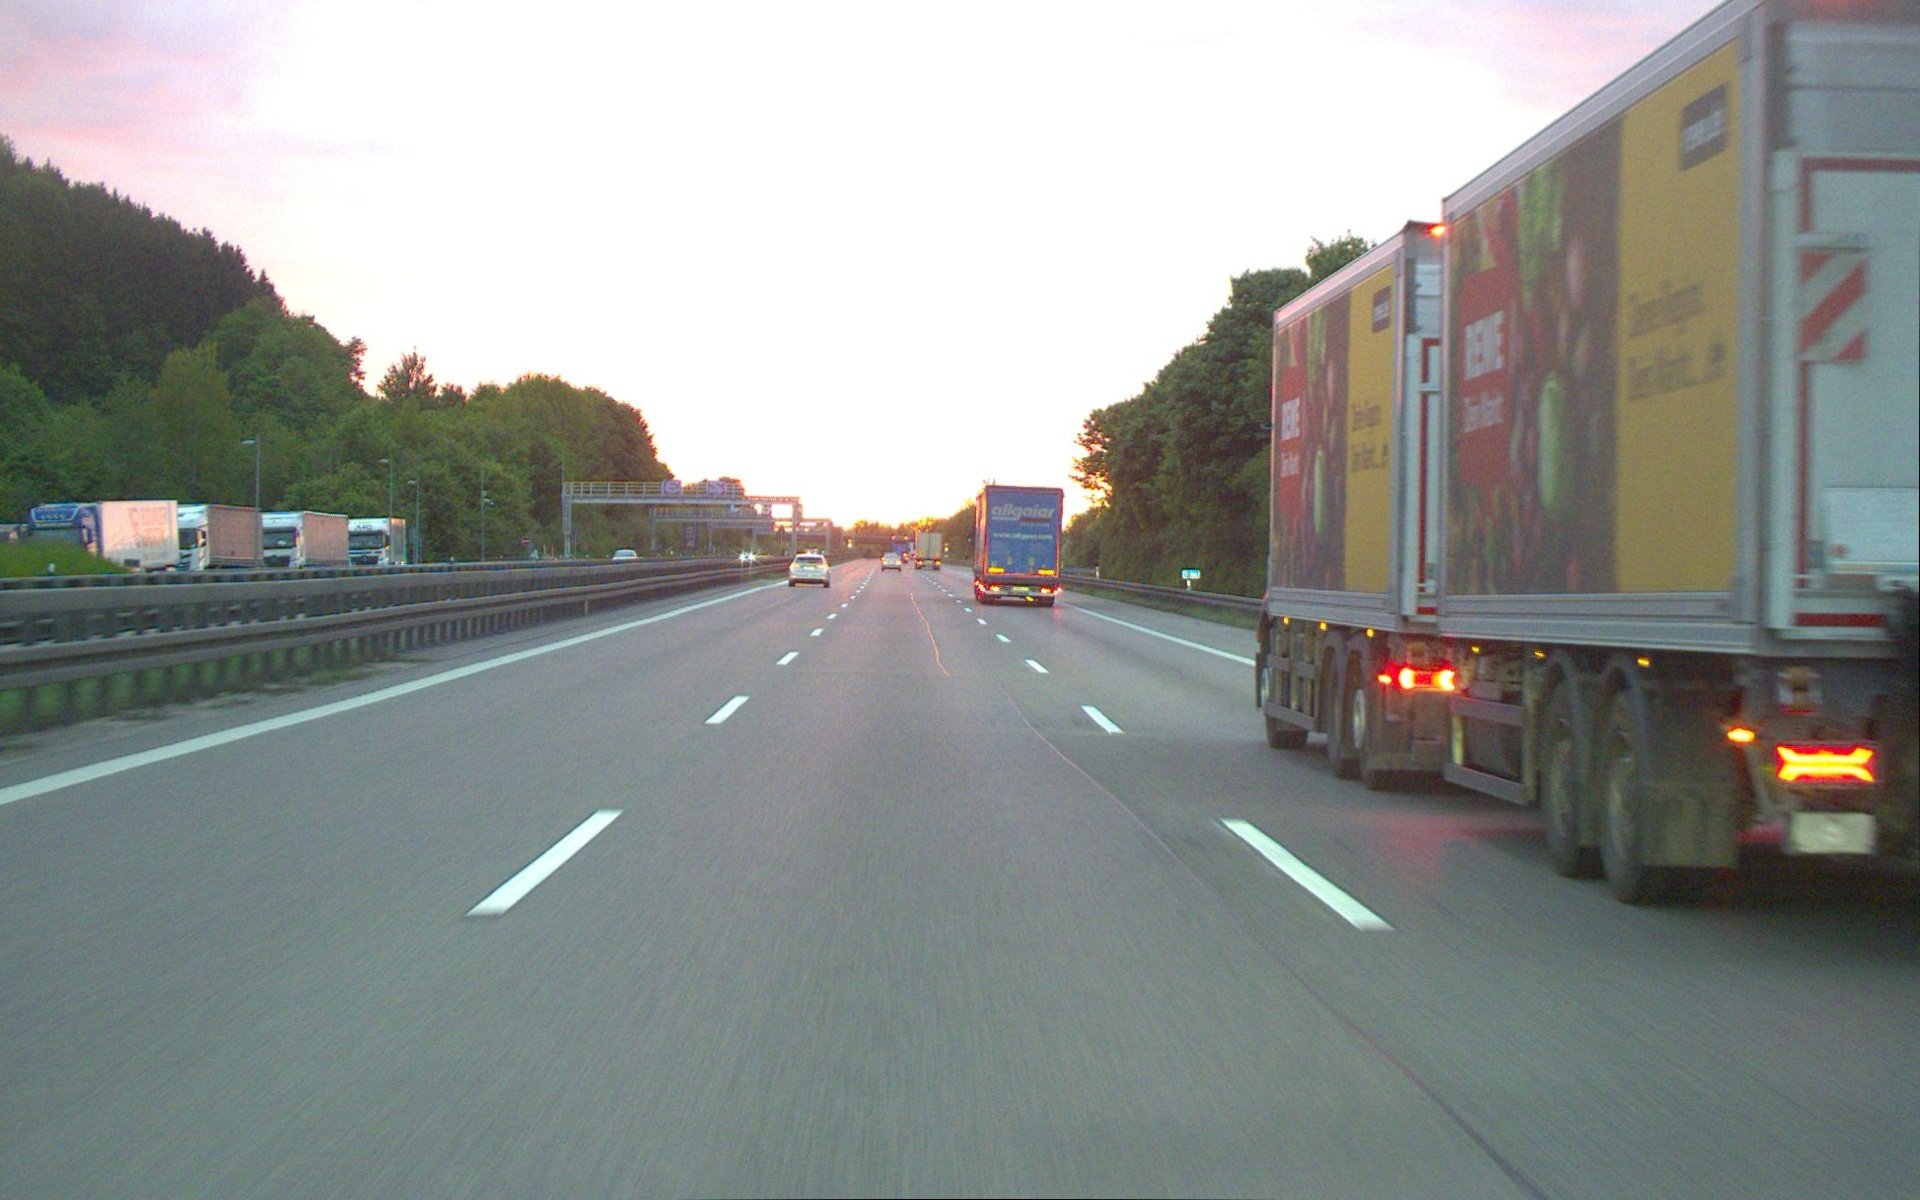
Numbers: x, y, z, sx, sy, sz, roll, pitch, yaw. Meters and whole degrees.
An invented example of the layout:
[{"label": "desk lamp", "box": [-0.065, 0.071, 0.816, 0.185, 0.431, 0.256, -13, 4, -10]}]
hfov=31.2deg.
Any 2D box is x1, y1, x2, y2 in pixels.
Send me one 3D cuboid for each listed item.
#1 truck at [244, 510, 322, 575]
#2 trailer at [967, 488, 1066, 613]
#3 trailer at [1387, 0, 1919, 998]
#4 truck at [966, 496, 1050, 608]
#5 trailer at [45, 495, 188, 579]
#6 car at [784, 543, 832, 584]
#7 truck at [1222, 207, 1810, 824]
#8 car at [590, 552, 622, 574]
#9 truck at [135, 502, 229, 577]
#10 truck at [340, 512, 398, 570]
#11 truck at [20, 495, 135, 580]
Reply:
[{"label": "truck", "box": [-37.061, -3.132, 188.382, 2.873, 3.413, 6.726, 2, 1, 0]}, {"label": "trailer", "box": [1.909, -1.697, 121.716, 2.771, 4.072, 13.740, 2, 0, -1]}, {"label": "trailer", "box": [4.138, -0.464, 17.068, 2.616, 3.814, 8.879, 1, 0, -2]}, {"label": "truck", "box": [1.755, -1.779, 128.180, 2.736, 3.983, 5.850, 2, 0, -1]}, {"label": "trailer", "box": [-36.874, -2.741, 150.814, 2.873, 3.413, 13.224, 2, 1, 0]}, {"label": "car", "box": [-6.684, -1.604, 151.760, 2.013, 1.743, 3.903, -2, 1, -2]}, {"label": "truck", "box": [3.883, -0.565, 26.730, 2.616, 3.814, 10.387, 1, 0, -1]}, {"label": "car", "box": [-26.564, -2.776, 258.085, 1.993, 1.588, 4.741, 2, 1, -1]}, {"label": "truck", "box": [-36.919, -2.880, 163.420, 2.873, 3.413, 6.726, 2, 1, 0]}, {"label": "truck", "box": [-36.507, -3.659, 212.648, 2.873, 3.413, 6.727, 2, 1, -5]}, {"label": "truck", "box": [-36.898, -2.607, 143.974, 2.873, 3.364, 7.174, 2, 1, 0]}]
